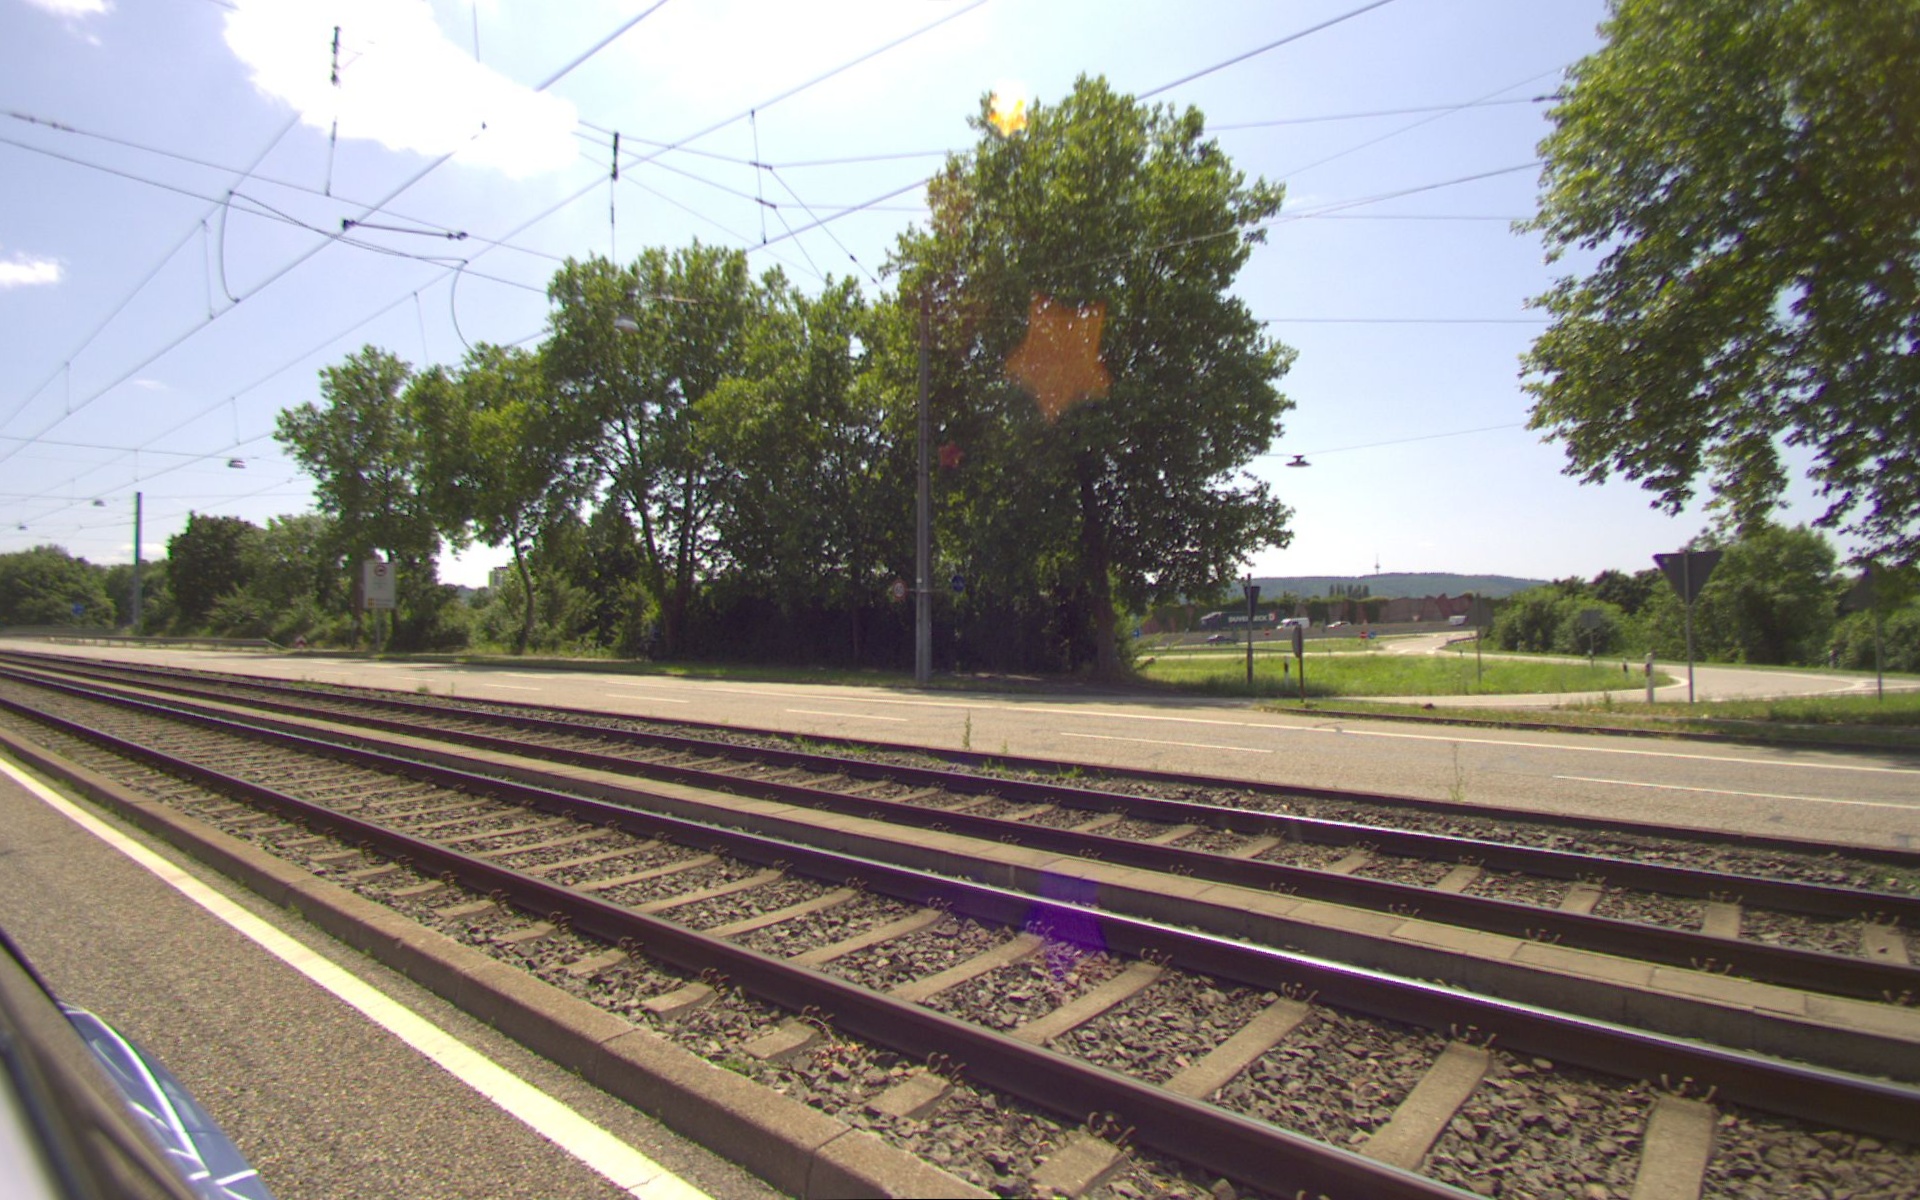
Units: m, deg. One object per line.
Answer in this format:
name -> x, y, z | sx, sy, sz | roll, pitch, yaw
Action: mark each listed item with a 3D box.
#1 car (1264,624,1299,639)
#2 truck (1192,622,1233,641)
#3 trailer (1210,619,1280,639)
car -> 55.494, 5.422, 174.847 | 5.475, 2.524, 2.229 | 0, -2, -19
truck -> 43.959, 5.475, 175.960 | 6.035, 3.408, 3.340 | 0, -2, -19
trailer -> 50.196, 5.063, 178.112 | 12.166, 3.466, 3.348 | 0, -2, -19
